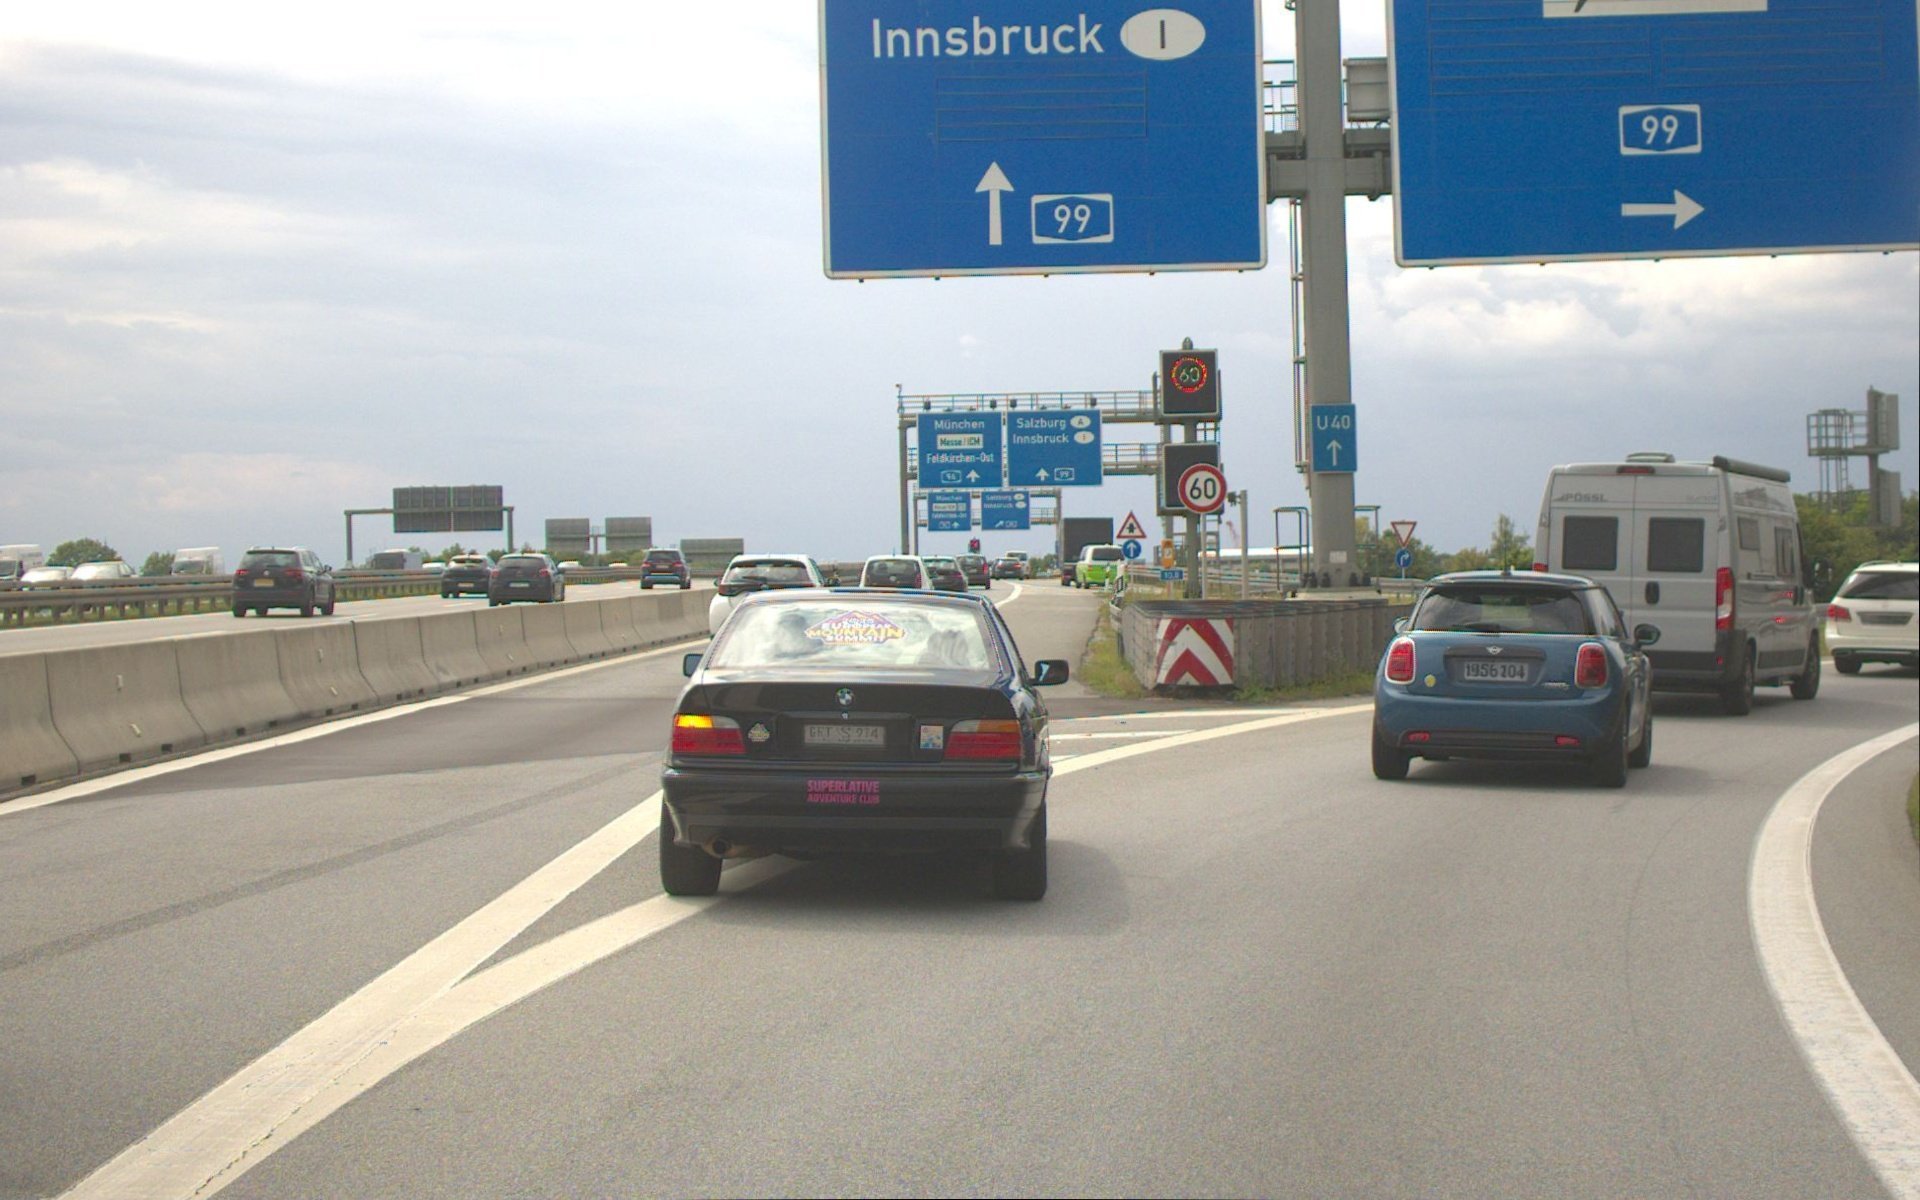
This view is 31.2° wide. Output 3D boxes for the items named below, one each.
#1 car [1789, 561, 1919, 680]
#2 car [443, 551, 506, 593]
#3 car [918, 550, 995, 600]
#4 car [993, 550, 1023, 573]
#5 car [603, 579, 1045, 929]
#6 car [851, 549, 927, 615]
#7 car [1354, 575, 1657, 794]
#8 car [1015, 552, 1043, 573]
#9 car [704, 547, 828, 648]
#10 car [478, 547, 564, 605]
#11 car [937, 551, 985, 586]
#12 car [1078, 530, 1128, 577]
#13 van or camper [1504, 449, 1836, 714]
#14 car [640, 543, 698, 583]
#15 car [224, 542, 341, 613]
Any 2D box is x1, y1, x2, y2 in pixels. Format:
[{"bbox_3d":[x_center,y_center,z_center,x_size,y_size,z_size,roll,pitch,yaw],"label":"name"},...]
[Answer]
[{"bbox_3d":[12.929,0.233,45.964,2.210,1.496,4.779,0,1,32],"label":"car"},{"bbox_3d":[-16.248,-0.943,115.290,1.552,1.371,4.000,0,1,0],"label":"car"},{"bbox_3d":[-0.083,-0.758,103.188,1.994,1.463,4.000,0,1,4],"label":"car"},{"bbox_3d":[3.056,-2.461,217.831,1.803,1.419,4.000,0,1,2],"label":"car"},{"bbox_3d":[-0.503,0.612,15.962,1.782,1.373,4.137,0,1,1],"label":"car"},{"bbox_3d":[-1.604,-0.426,78.403,1.585,1.478,3.535,0,1,1],"label":"car"},{"bbox_3d":[3.955,0.538,24.498,1.730,1.414,3.663,1,1,15],"label":"car"},{"bbox_3d":[4.777,-2.560,236.803,1.803,1.419,4.000,0,1,2],"label":"car"},{"bbox_3d":[-2.966,-0.064,53.185,1.701,1.503,3.840,0,1,0],"label":"car"},{"bbox_3d":[-11.844,-0.672,92.898,1.774,1.525,4.000,0,1,0],"label":"car"},{"bbox_3d":[0.062,-1.318,142.229,1.866,1.419,4.000,0,1,1],"label":"car"},{"bbox_3d":[6.306,-2.064,152.435,1.993,2.007,4.000,0,1,-1],"label":"car"},{"bbox_3d":[7.666,-0.229,36.564,2.296,2.559,6.153,0,1,23],"label":"van or camper"},{"bbox_3d":[-12.472,-1.610,147.567,1.993,1.678,4.866,0,1,1],"label":"car"},{"bbox_3d":[-15.900,-0.547,80.831,1.901,1.633,4.234,0,1,0],"label":"car"}]
